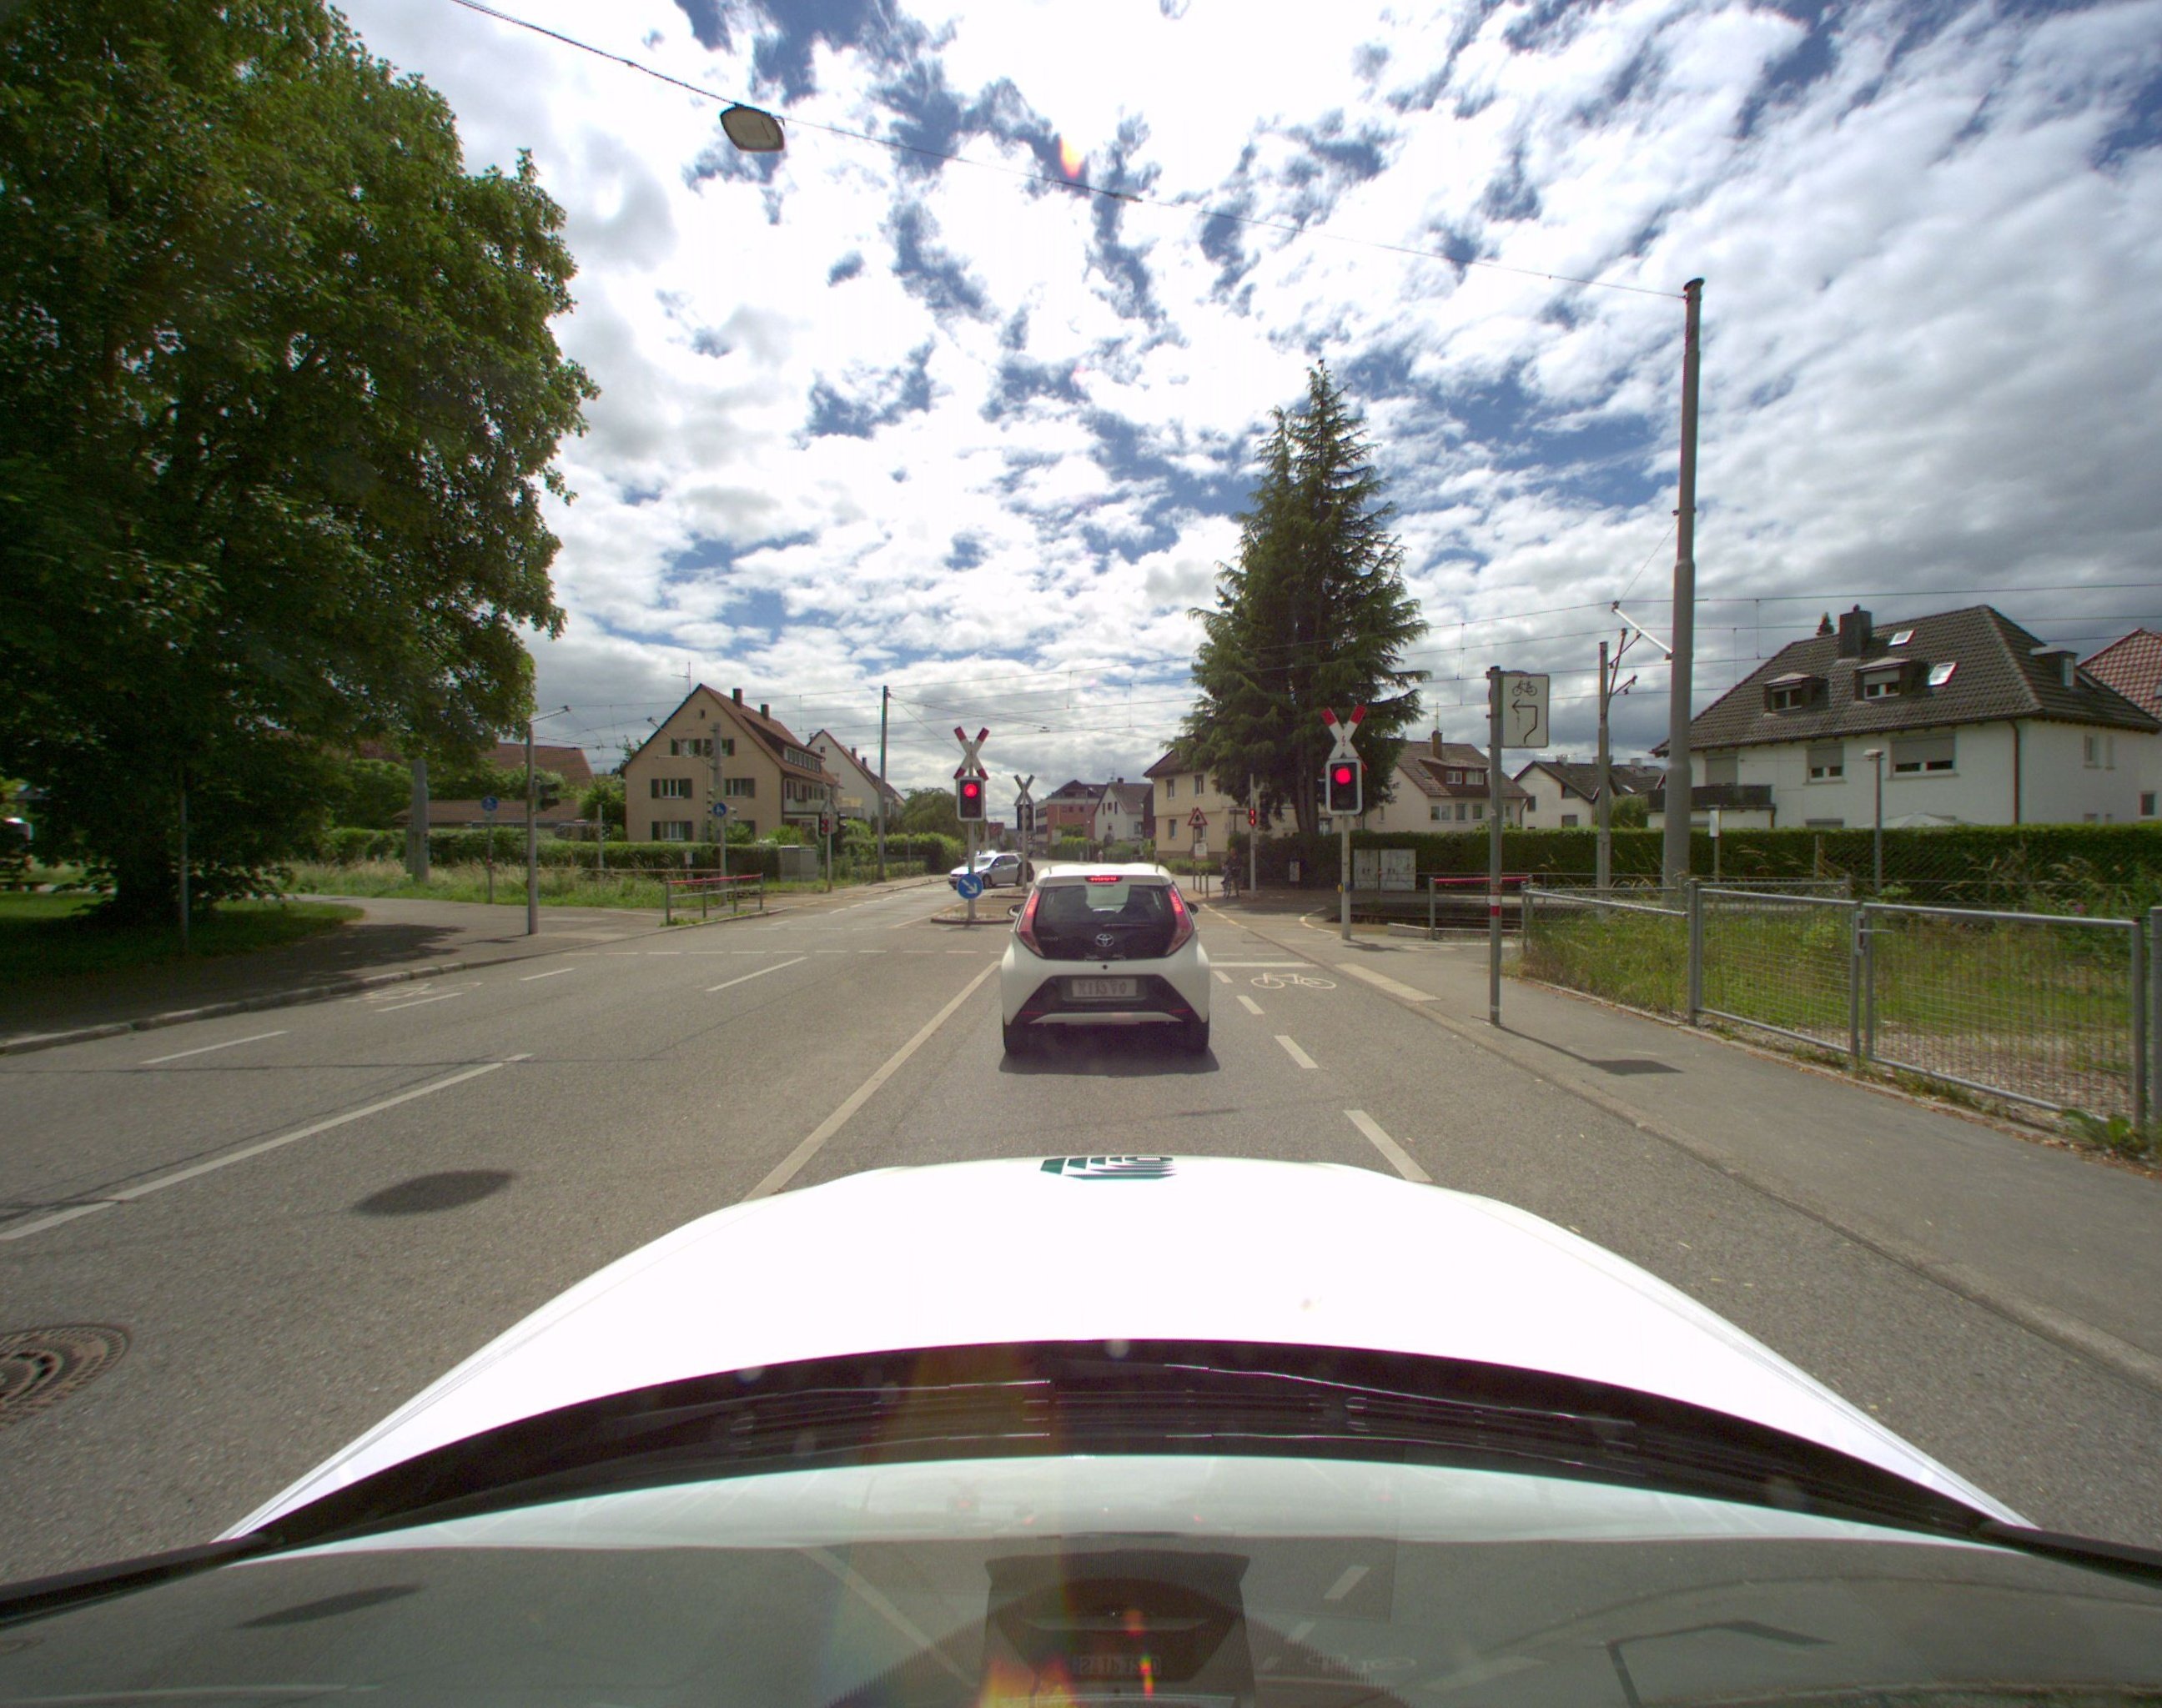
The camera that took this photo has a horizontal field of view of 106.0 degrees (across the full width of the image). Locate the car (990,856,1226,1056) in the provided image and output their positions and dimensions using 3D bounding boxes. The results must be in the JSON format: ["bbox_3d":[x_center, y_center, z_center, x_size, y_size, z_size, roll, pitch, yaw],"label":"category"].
[{"bbox_3d":[0.154,0.751,7.798,1.716,1.442,3.706,0,0,-2],"label":"car"}]

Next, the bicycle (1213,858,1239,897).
[{"bbox_3d":[4.857,0.774,27.350,0.456,1.172,1.477,-3,2,-4],"label":"bicycle"}]

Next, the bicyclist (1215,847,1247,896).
[{"bbox_3d":[5.006,0.575,27.250,0.839,1.553,0.755,-3,2,-4],"label":"bicyclist"}]

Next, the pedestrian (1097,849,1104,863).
[{"bbox_3d":[2.160,0.193,90.581,0.723,1.576,0.804,0,0,2],"label":"pedestrian"}]

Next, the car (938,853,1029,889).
[{"bbox_3d":[-4.209,0.710,35.733,1.887,1.441,4.124,0,0,30],"label":"car"}]
